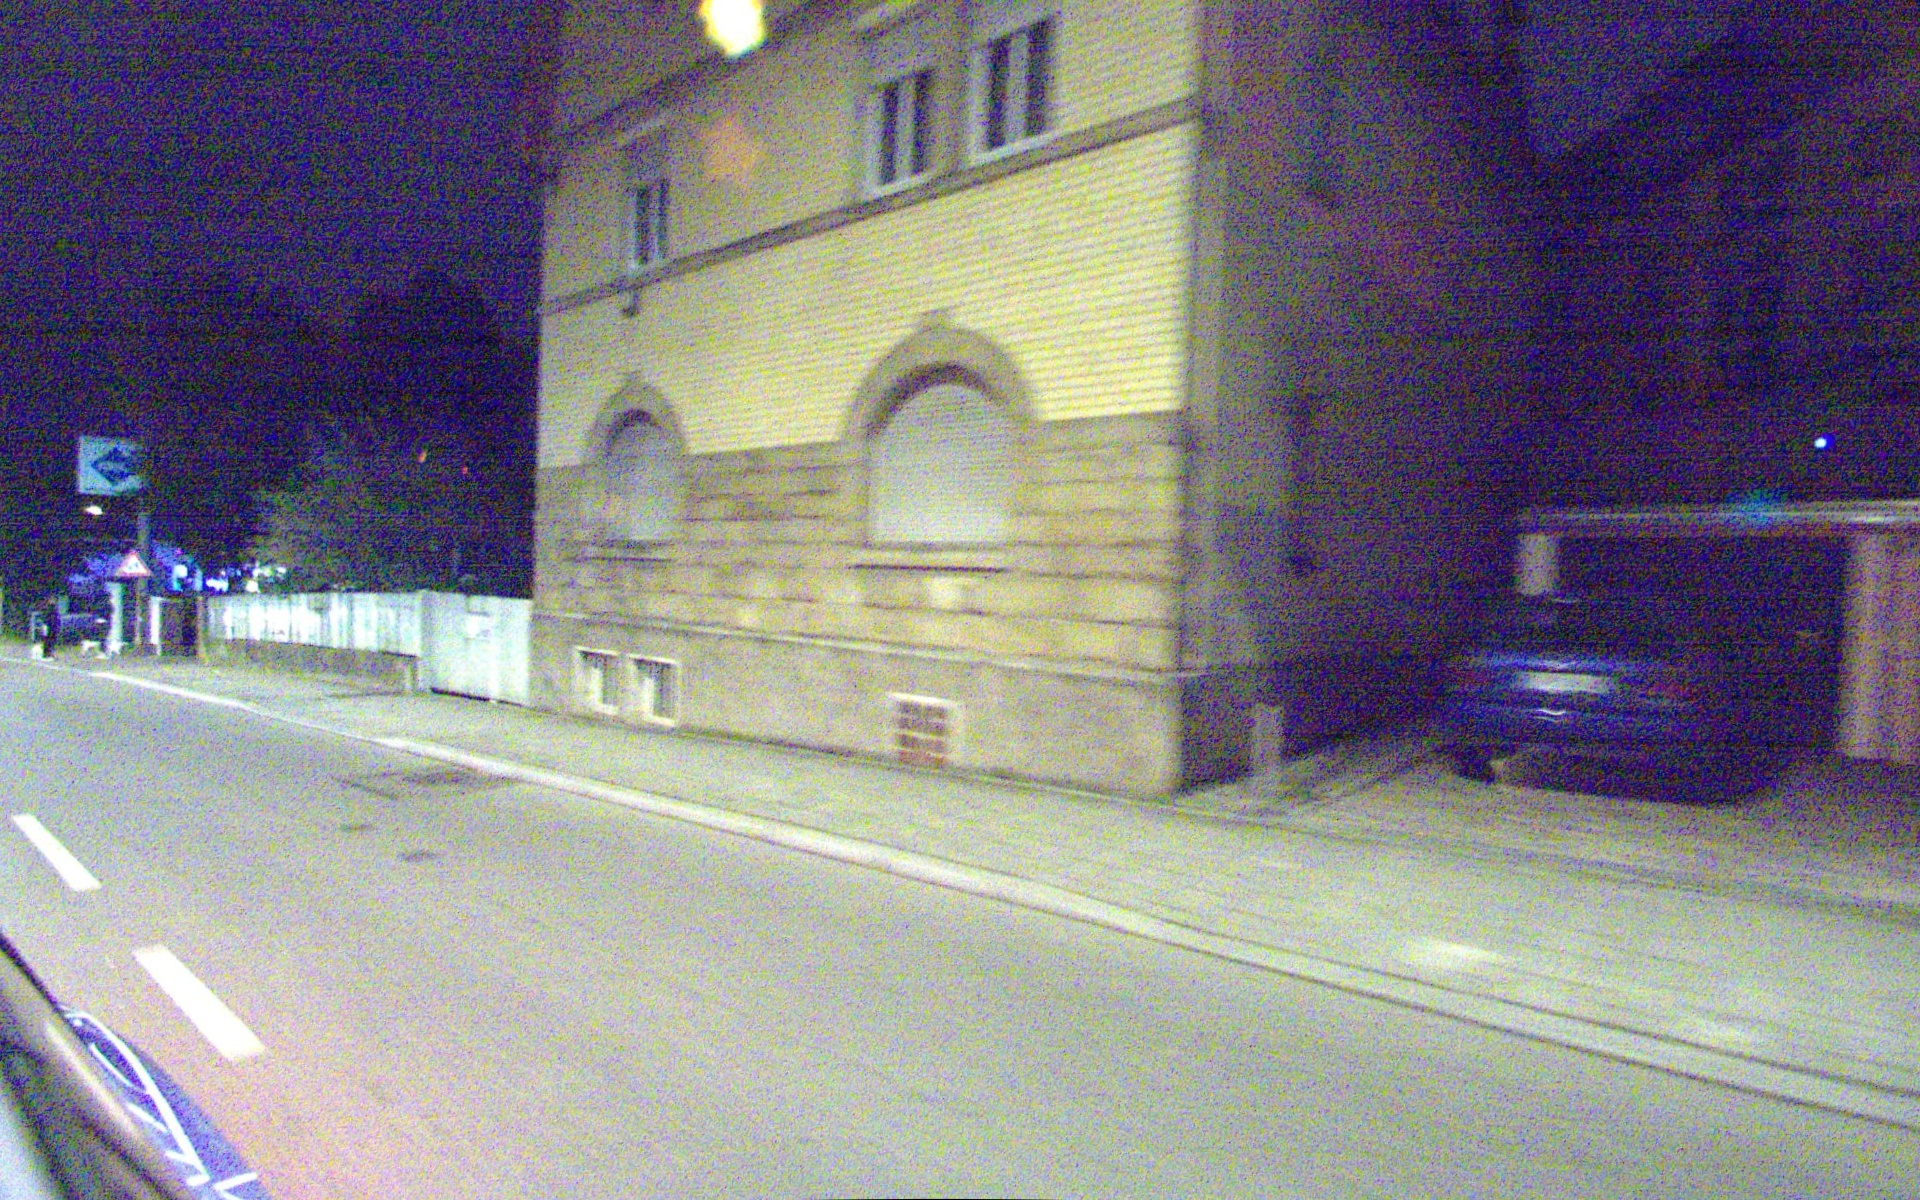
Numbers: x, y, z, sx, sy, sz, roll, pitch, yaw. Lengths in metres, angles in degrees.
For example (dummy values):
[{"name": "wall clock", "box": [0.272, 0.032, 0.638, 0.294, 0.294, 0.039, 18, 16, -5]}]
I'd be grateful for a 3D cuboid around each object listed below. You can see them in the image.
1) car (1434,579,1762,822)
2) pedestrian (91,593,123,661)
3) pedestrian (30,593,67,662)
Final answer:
[{"name": "car", "box": [5.184, 0.594, 8.010, 1.718, 1.452, 3.612, 0, 0, 40]}, {"name": "pedestrian", "box": [-22.479, 0.695, 26.672, 0.500, 1.773, 0.557, 0, 0, 41]}, {"name": "pedestrian", "box": [-23.893, 0.704, 26.524, 0.500, 1.773, 0.664, 0, 0, 41]}]
